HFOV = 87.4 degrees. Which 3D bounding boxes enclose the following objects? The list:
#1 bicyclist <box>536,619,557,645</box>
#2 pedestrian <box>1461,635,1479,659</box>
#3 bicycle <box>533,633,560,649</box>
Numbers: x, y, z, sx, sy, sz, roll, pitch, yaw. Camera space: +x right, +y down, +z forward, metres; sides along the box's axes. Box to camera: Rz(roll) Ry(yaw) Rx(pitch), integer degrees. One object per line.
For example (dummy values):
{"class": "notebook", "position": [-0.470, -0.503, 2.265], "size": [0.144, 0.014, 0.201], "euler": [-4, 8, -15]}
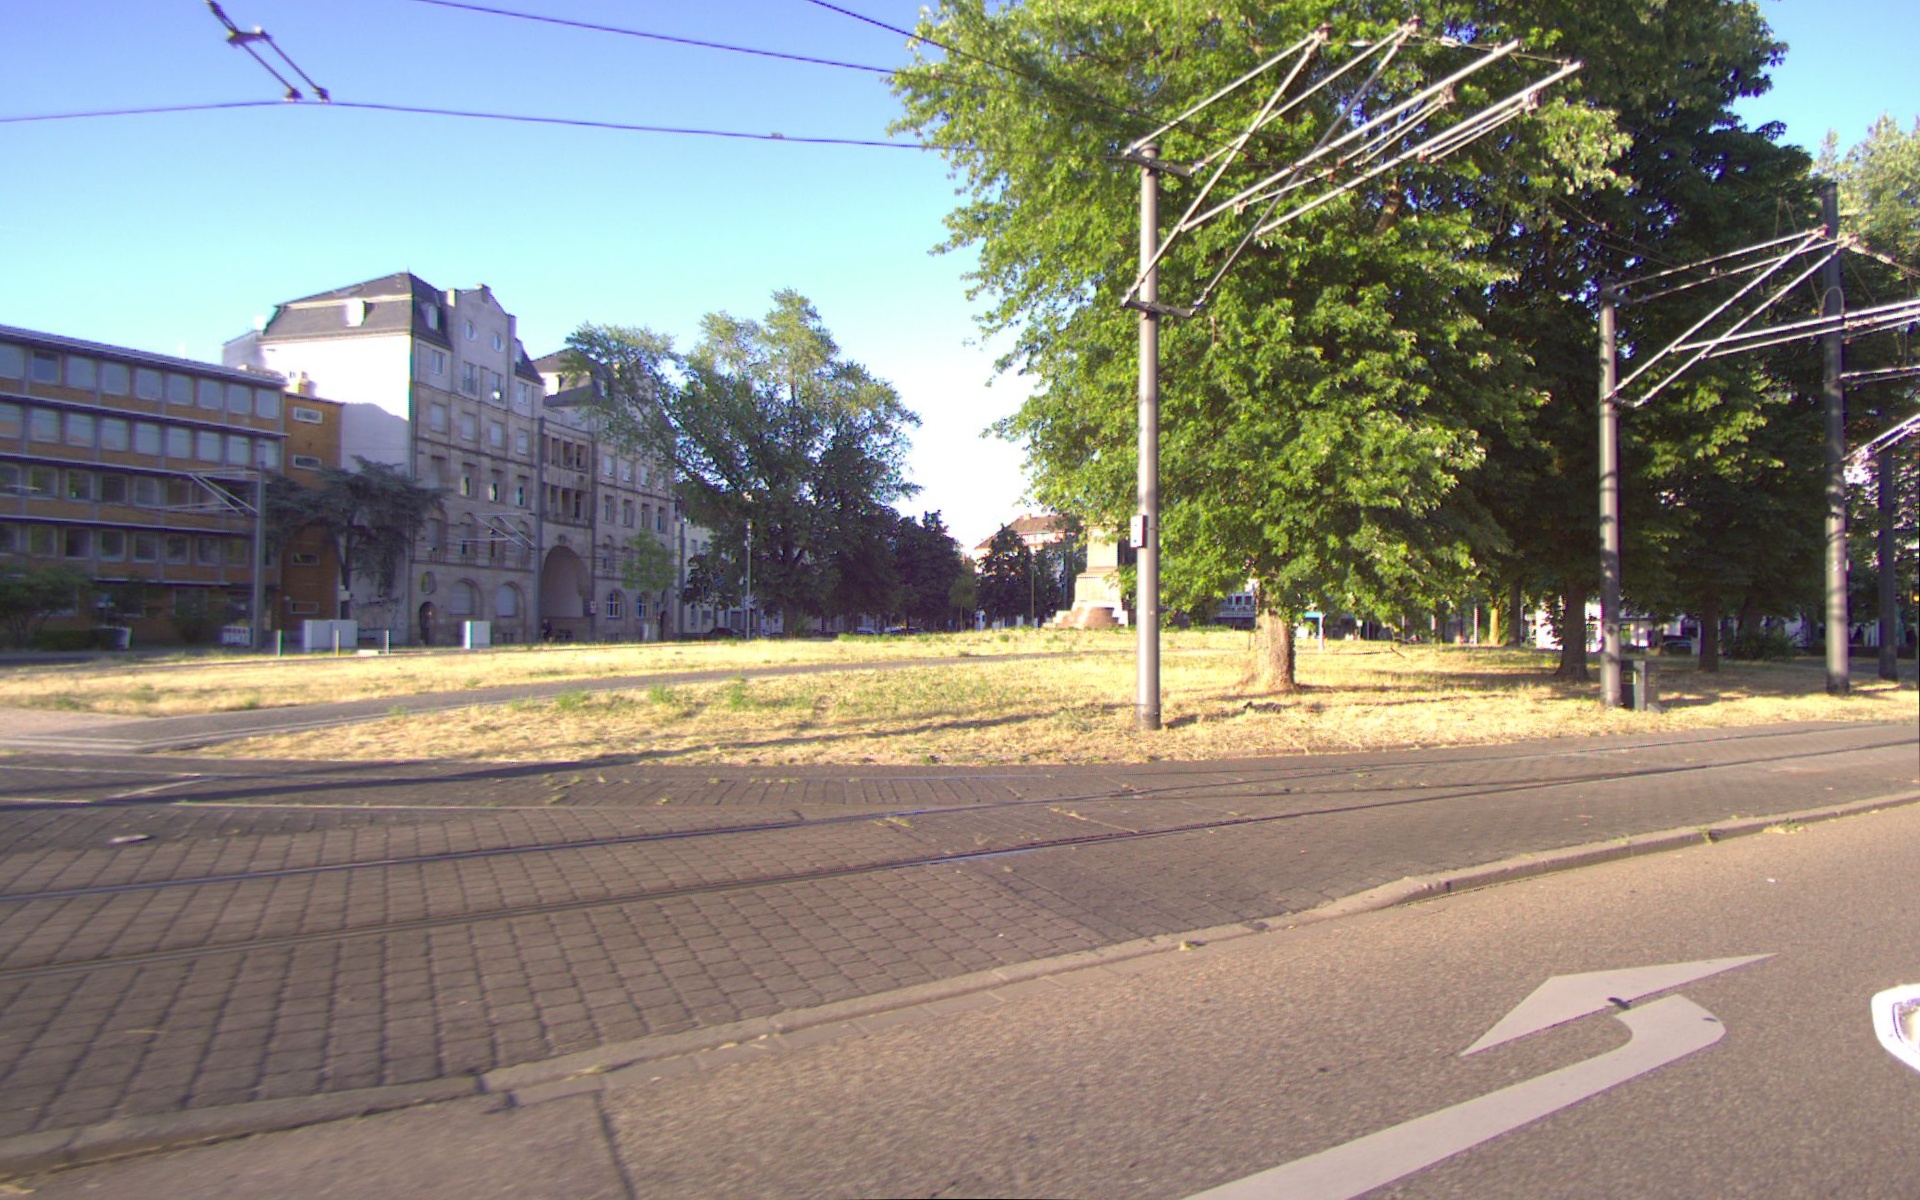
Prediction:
{"class": "bicyclist", "position": [-27.836, 2.172, 67.617], "size": [0.934, 1.713, 0.898], "euler": [1, 0, 16]}
{"class": "pedestrian", "position": [40.049, 3.681, 78.826], "size": [0.984, 1.865, 0.857], "euler": [-1, 1, -30]}
{"class": "bicycle", "position": [-27.837, 2.781, 67.657], "size": [0.463, 1.024, 2.203], "euler": [1, -1, 13]}
